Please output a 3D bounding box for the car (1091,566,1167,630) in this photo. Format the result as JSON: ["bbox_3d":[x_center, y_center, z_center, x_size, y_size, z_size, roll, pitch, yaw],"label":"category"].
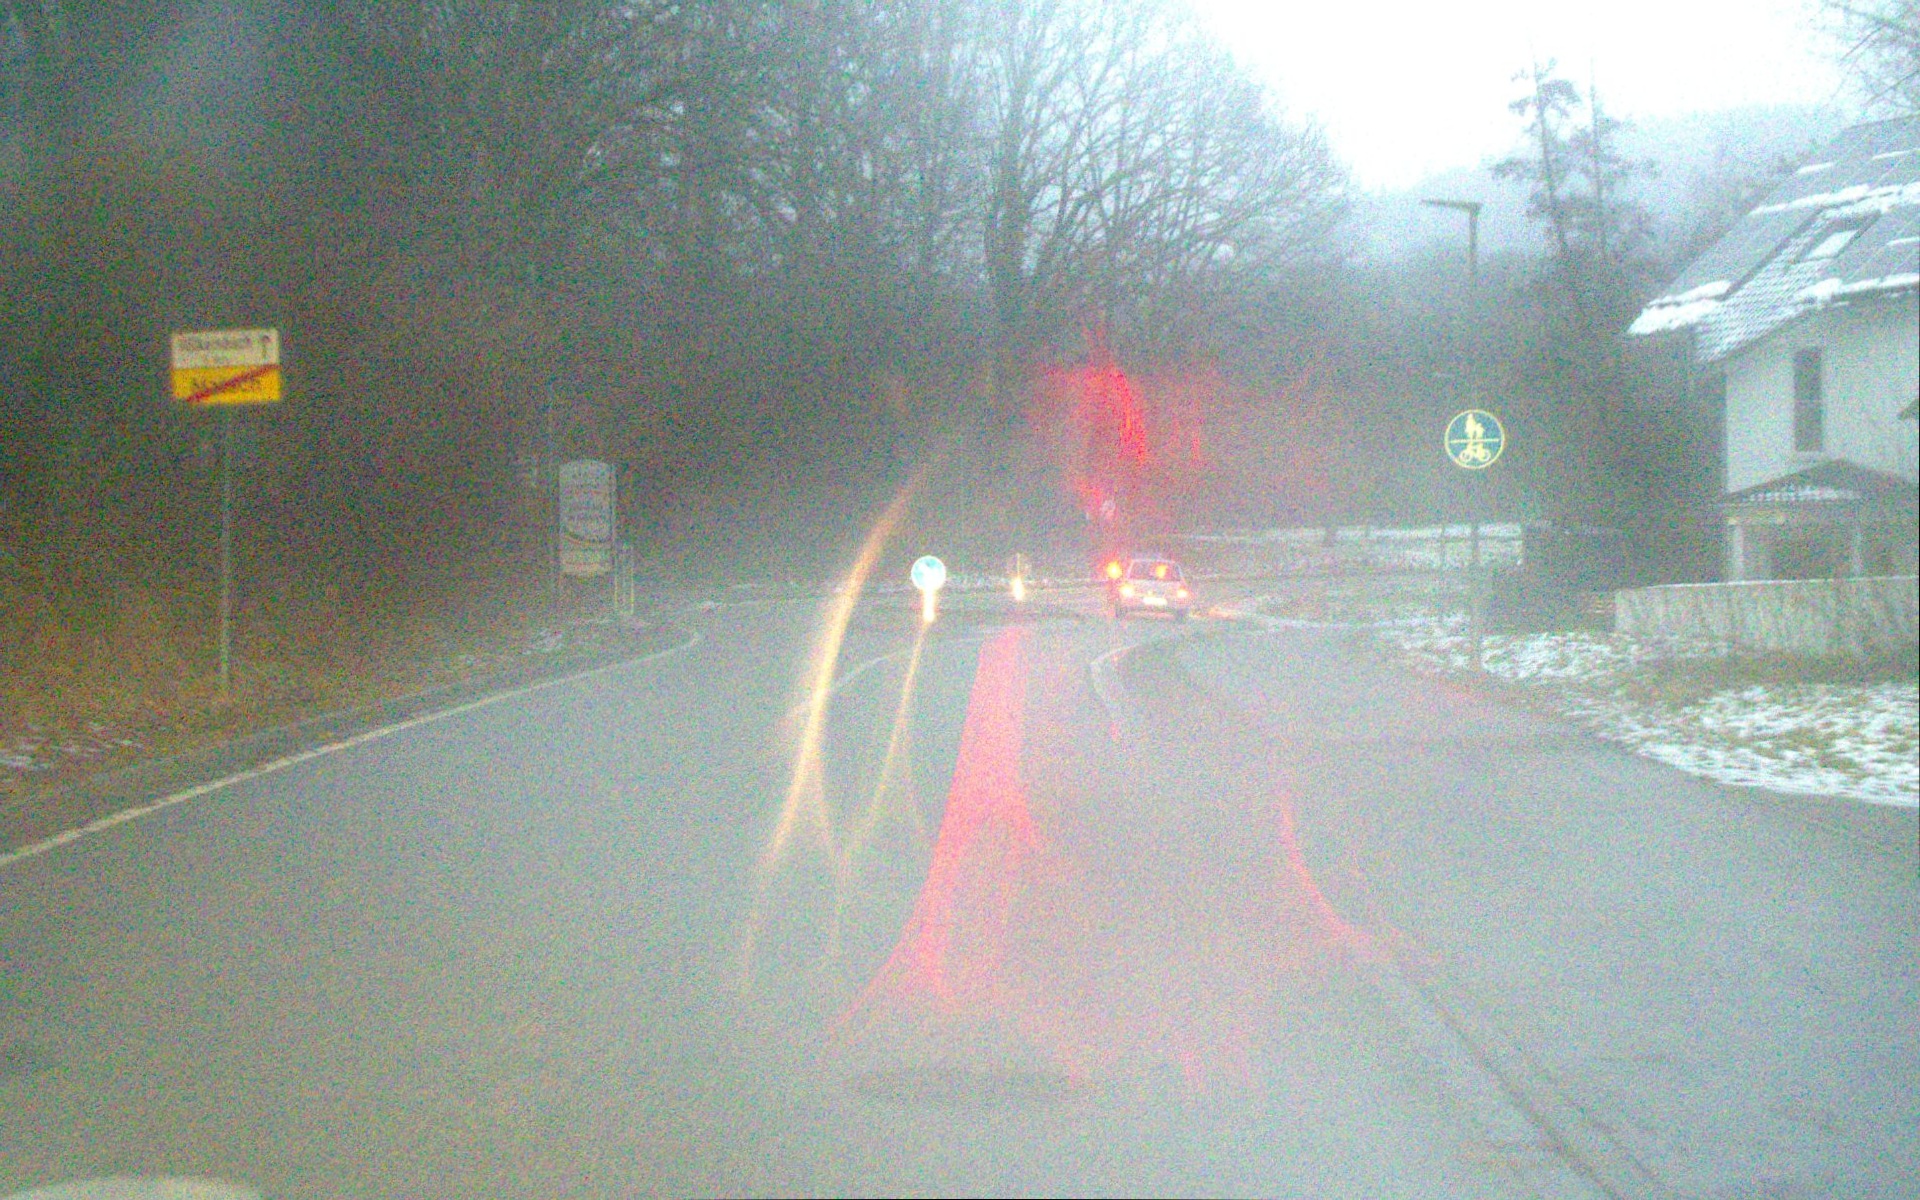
[{"bbox_3d":[4.615,-0.086,93.492,1.933,1.670,3.999,0,1,4],"label":"car"}]

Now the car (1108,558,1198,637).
[{"bbox_3d":[4.536,-0.074,80.395,1.933,1.775,3.999,0,1,5],"label":"car"}]
